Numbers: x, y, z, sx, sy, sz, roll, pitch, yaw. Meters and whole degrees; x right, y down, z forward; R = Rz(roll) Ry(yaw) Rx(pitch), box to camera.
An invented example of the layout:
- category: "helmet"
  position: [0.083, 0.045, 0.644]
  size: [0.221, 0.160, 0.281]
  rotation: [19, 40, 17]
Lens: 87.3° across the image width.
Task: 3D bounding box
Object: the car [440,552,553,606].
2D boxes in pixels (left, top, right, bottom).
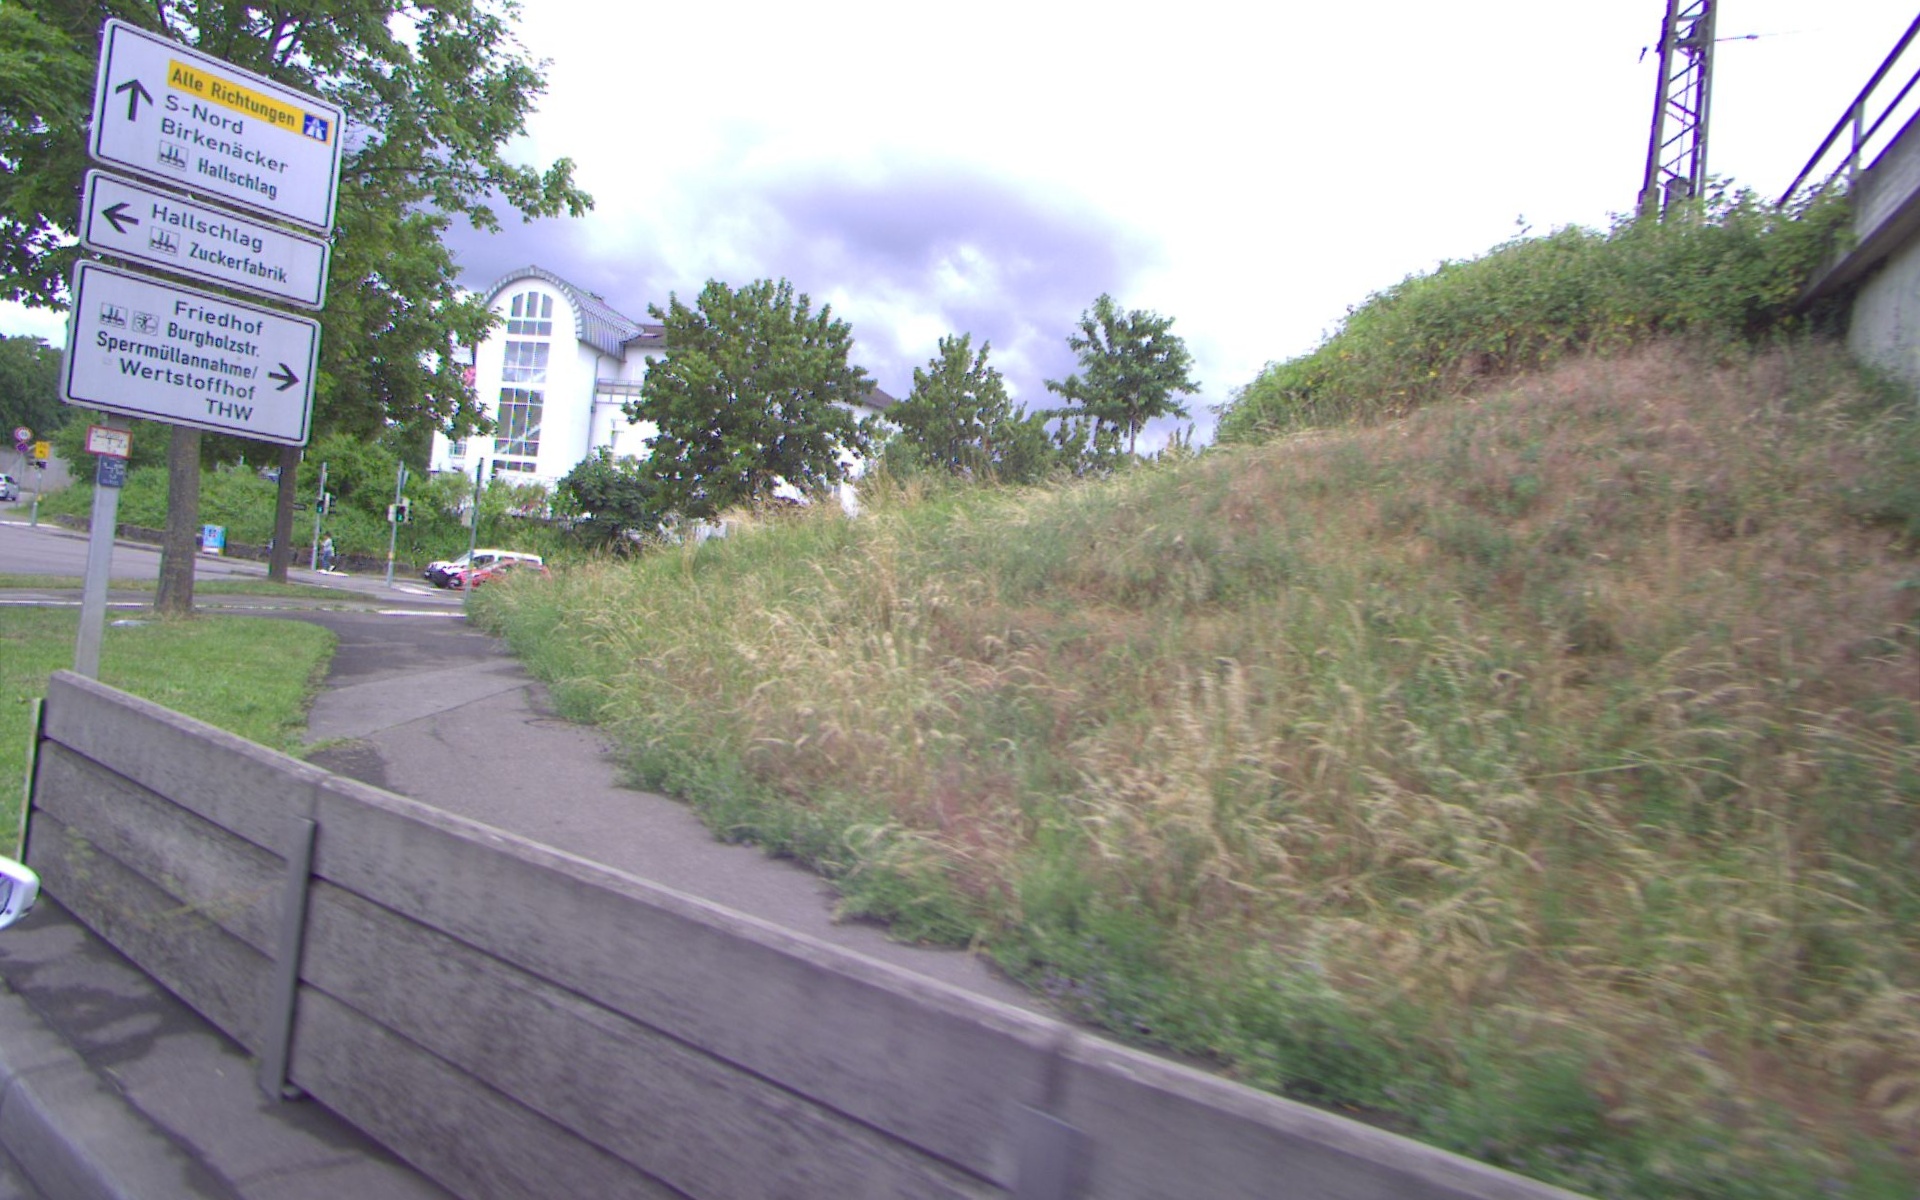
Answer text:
- category: "car"
  position: [-18.442, -0.814, 40.126]
  size: [1.971, 1.547, 3.480]
  rotation: [6, -3, 39]

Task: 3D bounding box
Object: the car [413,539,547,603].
- category: "car"
  position: [-20.180, -1.181, 42.452]
  size: [1.971, 1.931, 4.504]
  rotation: [6, -3, 39]

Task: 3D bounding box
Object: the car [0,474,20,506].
- category: "car"
  position: [-55.065, -6.348, 57.135]
  size: [1.985, 1.637, 3.959]
  rotation: [8, -2, -38]

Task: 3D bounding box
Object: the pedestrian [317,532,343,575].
- category: "pedestrian"
  position: [-25.969, -1.928, 41.464]
  size: [0.488, 1.672, 0.625]
  rotation: [7, -1, 45]
